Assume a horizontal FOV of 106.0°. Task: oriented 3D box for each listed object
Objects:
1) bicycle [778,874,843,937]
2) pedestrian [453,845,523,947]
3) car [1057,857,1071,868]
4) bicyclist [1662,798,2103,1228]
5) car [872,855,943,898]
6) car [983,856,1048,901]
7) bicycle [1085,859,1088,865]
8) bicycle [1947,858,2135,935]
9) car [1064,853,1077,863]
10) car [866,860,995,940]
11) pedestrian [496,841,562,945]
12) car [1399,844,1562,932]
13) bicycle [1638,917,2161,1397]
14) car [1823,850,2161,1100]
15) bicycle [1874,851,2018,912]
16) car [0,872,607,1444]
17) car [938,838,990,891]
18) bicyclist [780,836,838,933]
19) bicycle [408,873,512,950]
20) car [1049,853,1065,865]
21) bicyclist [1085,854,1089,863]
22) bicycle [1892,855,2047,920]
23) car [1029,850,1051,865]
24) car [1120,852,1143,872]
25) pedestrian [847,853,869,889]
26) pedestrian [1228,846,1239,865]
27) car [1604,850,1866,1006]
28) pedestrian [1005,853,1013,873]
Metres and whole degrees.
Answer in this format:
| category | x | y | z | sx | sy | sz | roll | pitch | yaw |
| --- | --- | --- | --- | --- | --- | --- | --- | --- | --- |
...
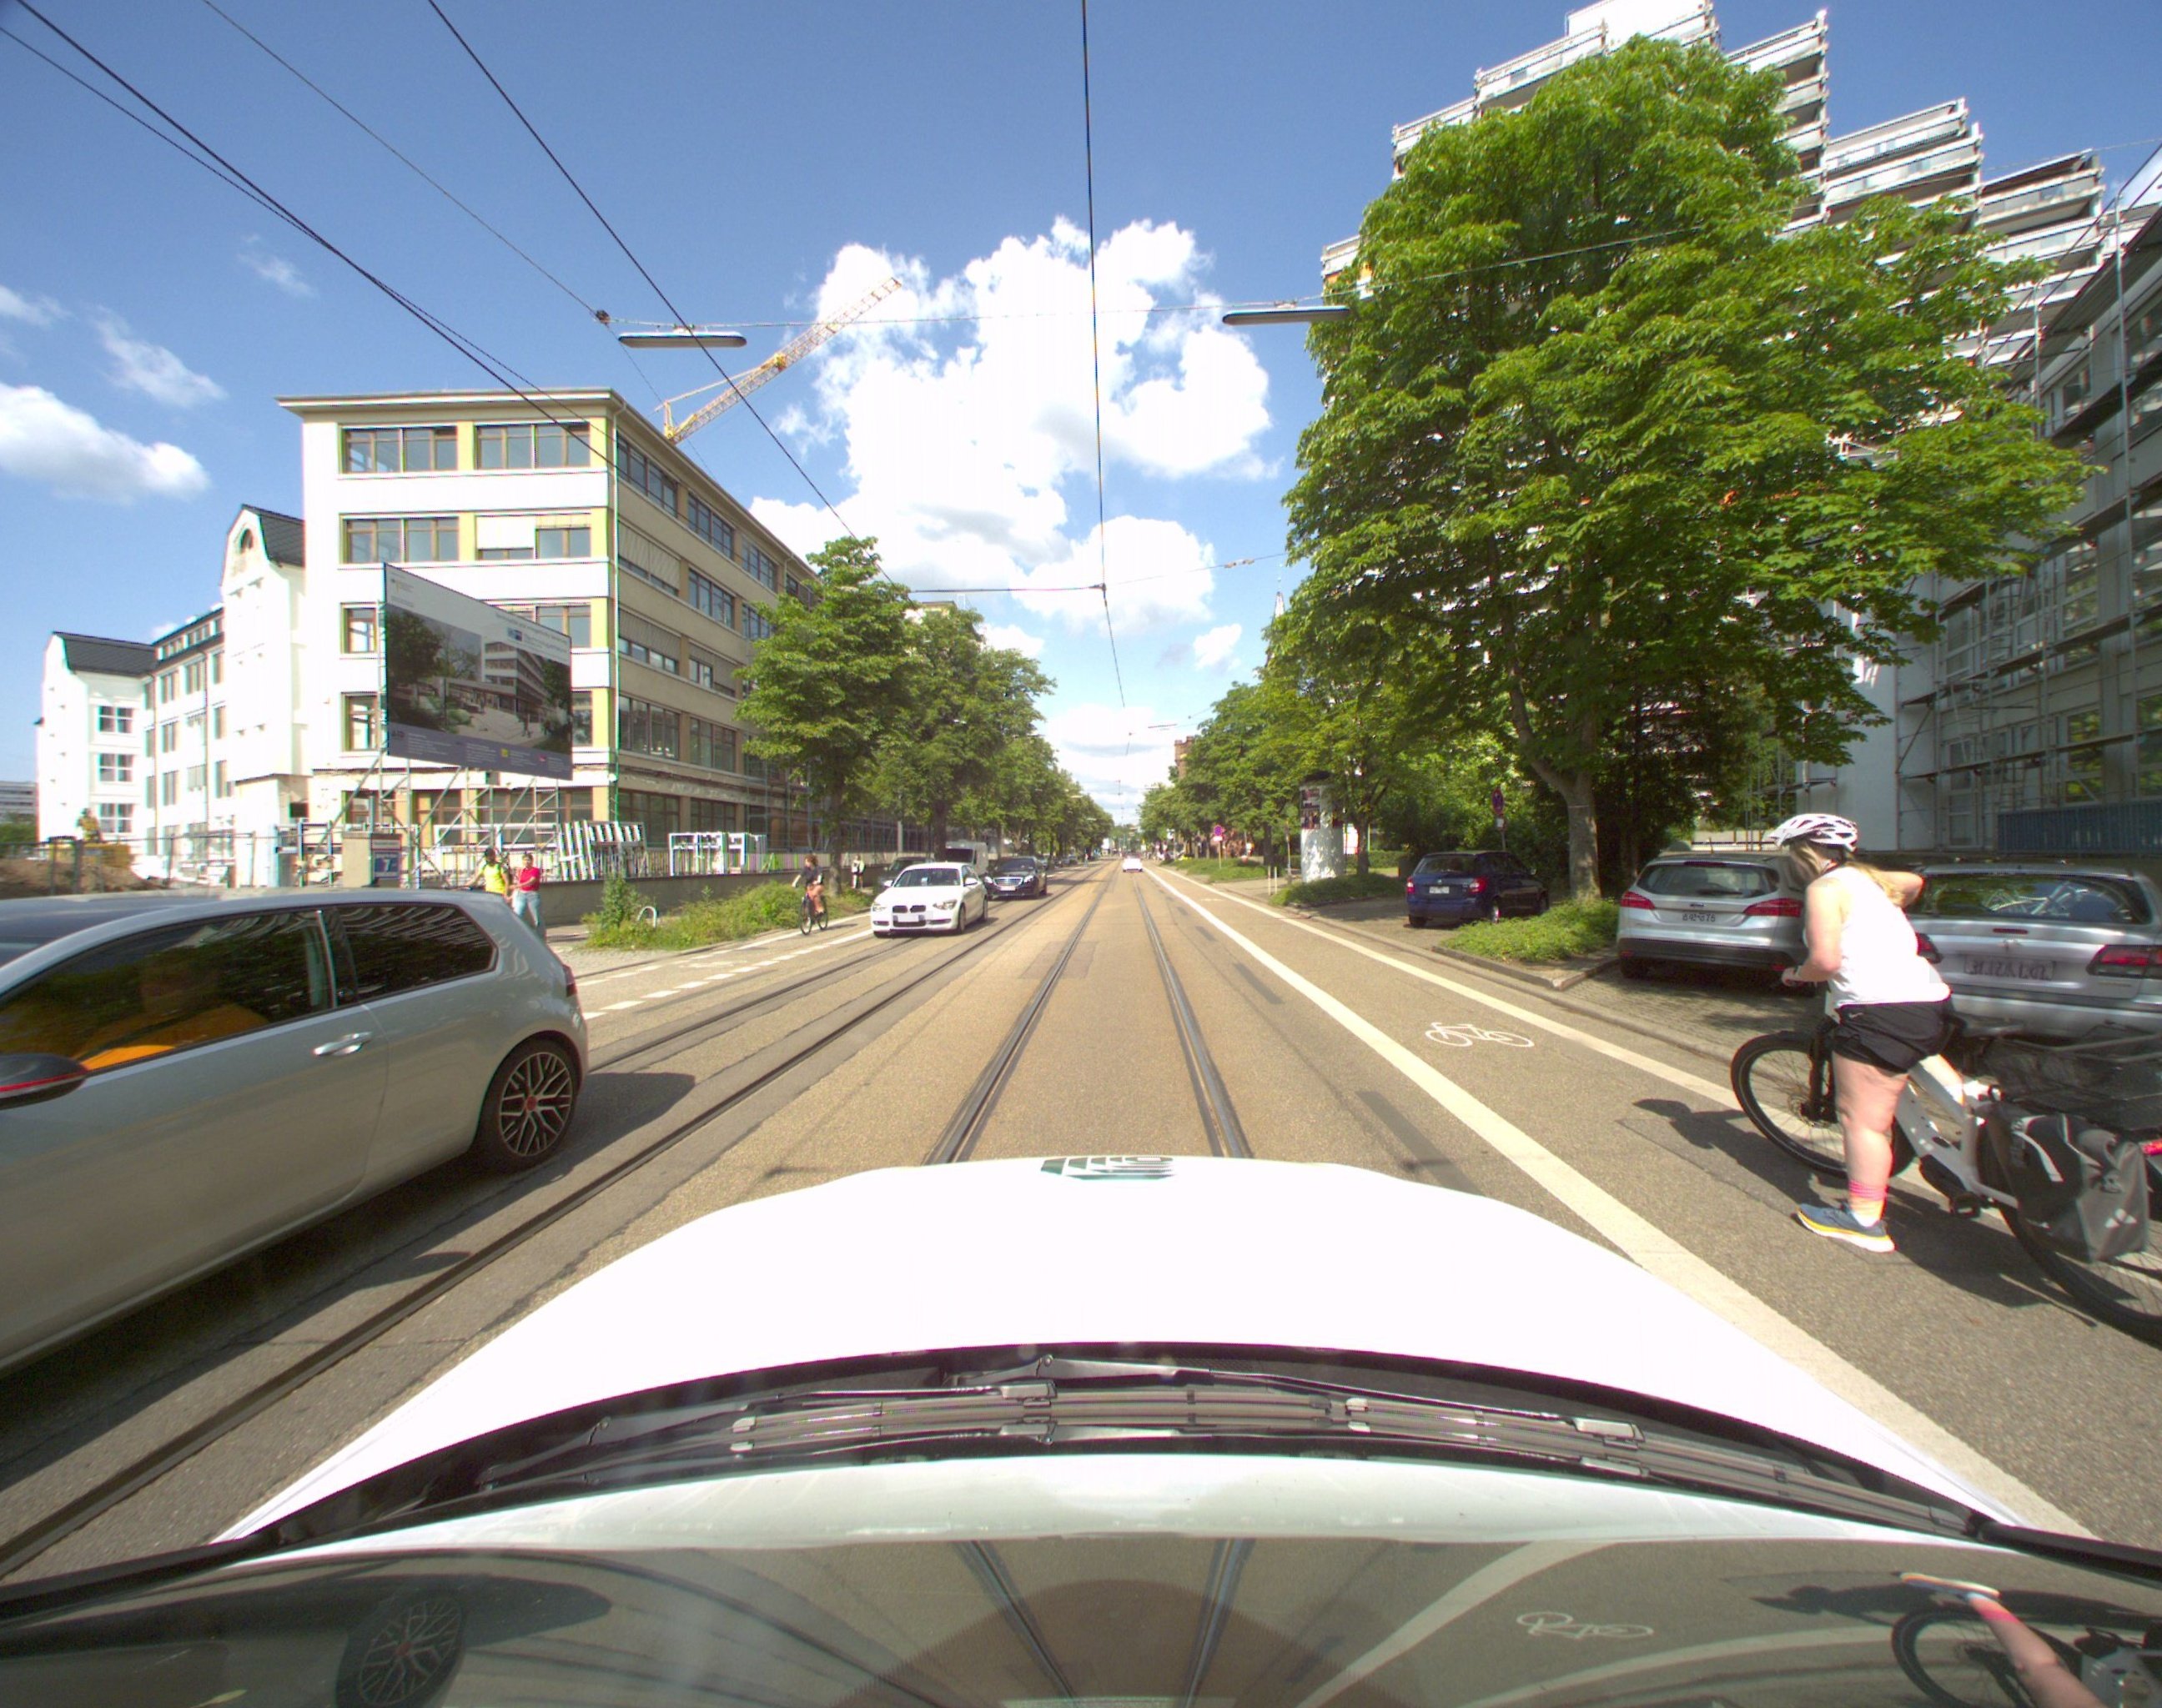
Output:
| category | x | y | z | sx | sy | sz | roll | pitch | yaw |
| --- | --- | --- | --- | --- | --- | --- | --- | --- | --- |
| bicycle | -5.877 | 1.087 | 17.797 | 0.641 | 1.165 | 1.945 | -4 | 2 | 2 |
| pedestrian | -10.786 | 0.749 | 14.843 | 0.705 | 1.793 | 0.661 | 2 | -1 | -3 |
| car | -2.474 | 1.250 | 119.013 | 1.797 | 1.516 | 4.106 | 1 | 0 | 3 |
| bicyclist | 3.279 | 0.562 | 3.495 | 0.884 | 1.529 | 1.088 | 1 | 0 | 9 |
| car | -7.037 | 0.866 | 33.410 | 1.797 | 1.662 | 4.106 | 1 | 0 | 3 |
| car | -2.288 | 0.835 | 29.453 | 1.793 | 1.508 | 4.538 | 0 | 0 | 2 |
| bicycle | 0.983 | 1.377 | 141.590 | 0.616 | 0.973 | 1.717 | -1 | 0 | 0 |
| bicycle | 14.711 | 0.650 | 12.546 | 1.809 | 1.095 | 0.454 | -2 | 2 | 33 |
| car | -1.641 | 0.602 | 131.070 | 1.797 | 1.516 | 4.106 | -1 | 0 | 3 |
| car | -3.040 | 0.877 | 17.307 | 1.679 | 1.405 | 4.230 | -2 | 0 | 3 |
| pedestrian | -10.063 | 0.697 | 14.863 | 0.705 | 1.831 | 0.661 | 2 | 1 | -3 |
| car | 8.107 | 0.613 | 16.371 | 4.023 | 1.486 | 1.596 | -2 | 0 | -43 |
| bicycle | 3.251 | 0.902 | 3.238 | 0.870 | 1.126 | 2.141 | 0 | 0 | 9 |
| car | 7.696 | 0.702 | 6.546 | 4.261 | 1.420 | 1.705 | -1 | 1 | -35 |
| bicycle | 16.513 | 0.523 | 15.603 | 1.809 | 1.096 | 0.454 | -1 | 0 | 33 |
| car | -3.638 | 0.827 | 2.665 | 1.766 | 1.416 | 3.854 | -2 | 0 | 2 |
| car | -6.244 | 0.545 | 44.069 | 1.762 | 2.639 | 5.326 | 1 | 0 | 3 |
| bicyclist | -5.894 | 0.663 | 17.687 | 0.873 | 2.014 | 0.834 | -3 | -1 | 1 |
| bicycle | -11.290 | 1.010 | 14.878 | 0.444 | 1.286 | 1.741 | -1 | 0 | 5 |
| car | -3.082 | 0.620 | 106.549 | 1.797 | 1.516 | 4.106 | -1 | 0 | 3 |
| bicyclist | 0.964 | 0.821 | 141.755 | 0.656 | 1.579 | 0.946 | 1 | -1 | 1 |
| bicycle | 15.861 | 0.582 | 14.595 | 1.809 | 1.096 | 0.454 | -1 | 1 | 33 |
| car | -4.236 | 0.352 | 84.581 | 1.797 | 1.516 | 4.106 | -1 | 0 | 3 |
| car | 4.125 | 0.639 | 67.059 | 1.659 | 1.624 | 3.621 | -1 | 0 | 1 |
| pedestrian | -10.177 | 0.776 | 37.163 | 0.761 | 1.620 | 0.594 | 1 | -1 | 2 |
| pedestrian | 16.222 | 0.198 | 86.658 | 0.973 | 2.014 | 1.094 | 1 | -1 | 2 |
| car | 7.847 | 0.702 | 9.656 | 3.824 | 1.474 | 1.634 | 0 | 1 | -39 |
| pedestrian | -7.521 | 0.947 | 84.853 | 0.802 | 2.013 | 0.484 | -1 | 0 | -6 |
